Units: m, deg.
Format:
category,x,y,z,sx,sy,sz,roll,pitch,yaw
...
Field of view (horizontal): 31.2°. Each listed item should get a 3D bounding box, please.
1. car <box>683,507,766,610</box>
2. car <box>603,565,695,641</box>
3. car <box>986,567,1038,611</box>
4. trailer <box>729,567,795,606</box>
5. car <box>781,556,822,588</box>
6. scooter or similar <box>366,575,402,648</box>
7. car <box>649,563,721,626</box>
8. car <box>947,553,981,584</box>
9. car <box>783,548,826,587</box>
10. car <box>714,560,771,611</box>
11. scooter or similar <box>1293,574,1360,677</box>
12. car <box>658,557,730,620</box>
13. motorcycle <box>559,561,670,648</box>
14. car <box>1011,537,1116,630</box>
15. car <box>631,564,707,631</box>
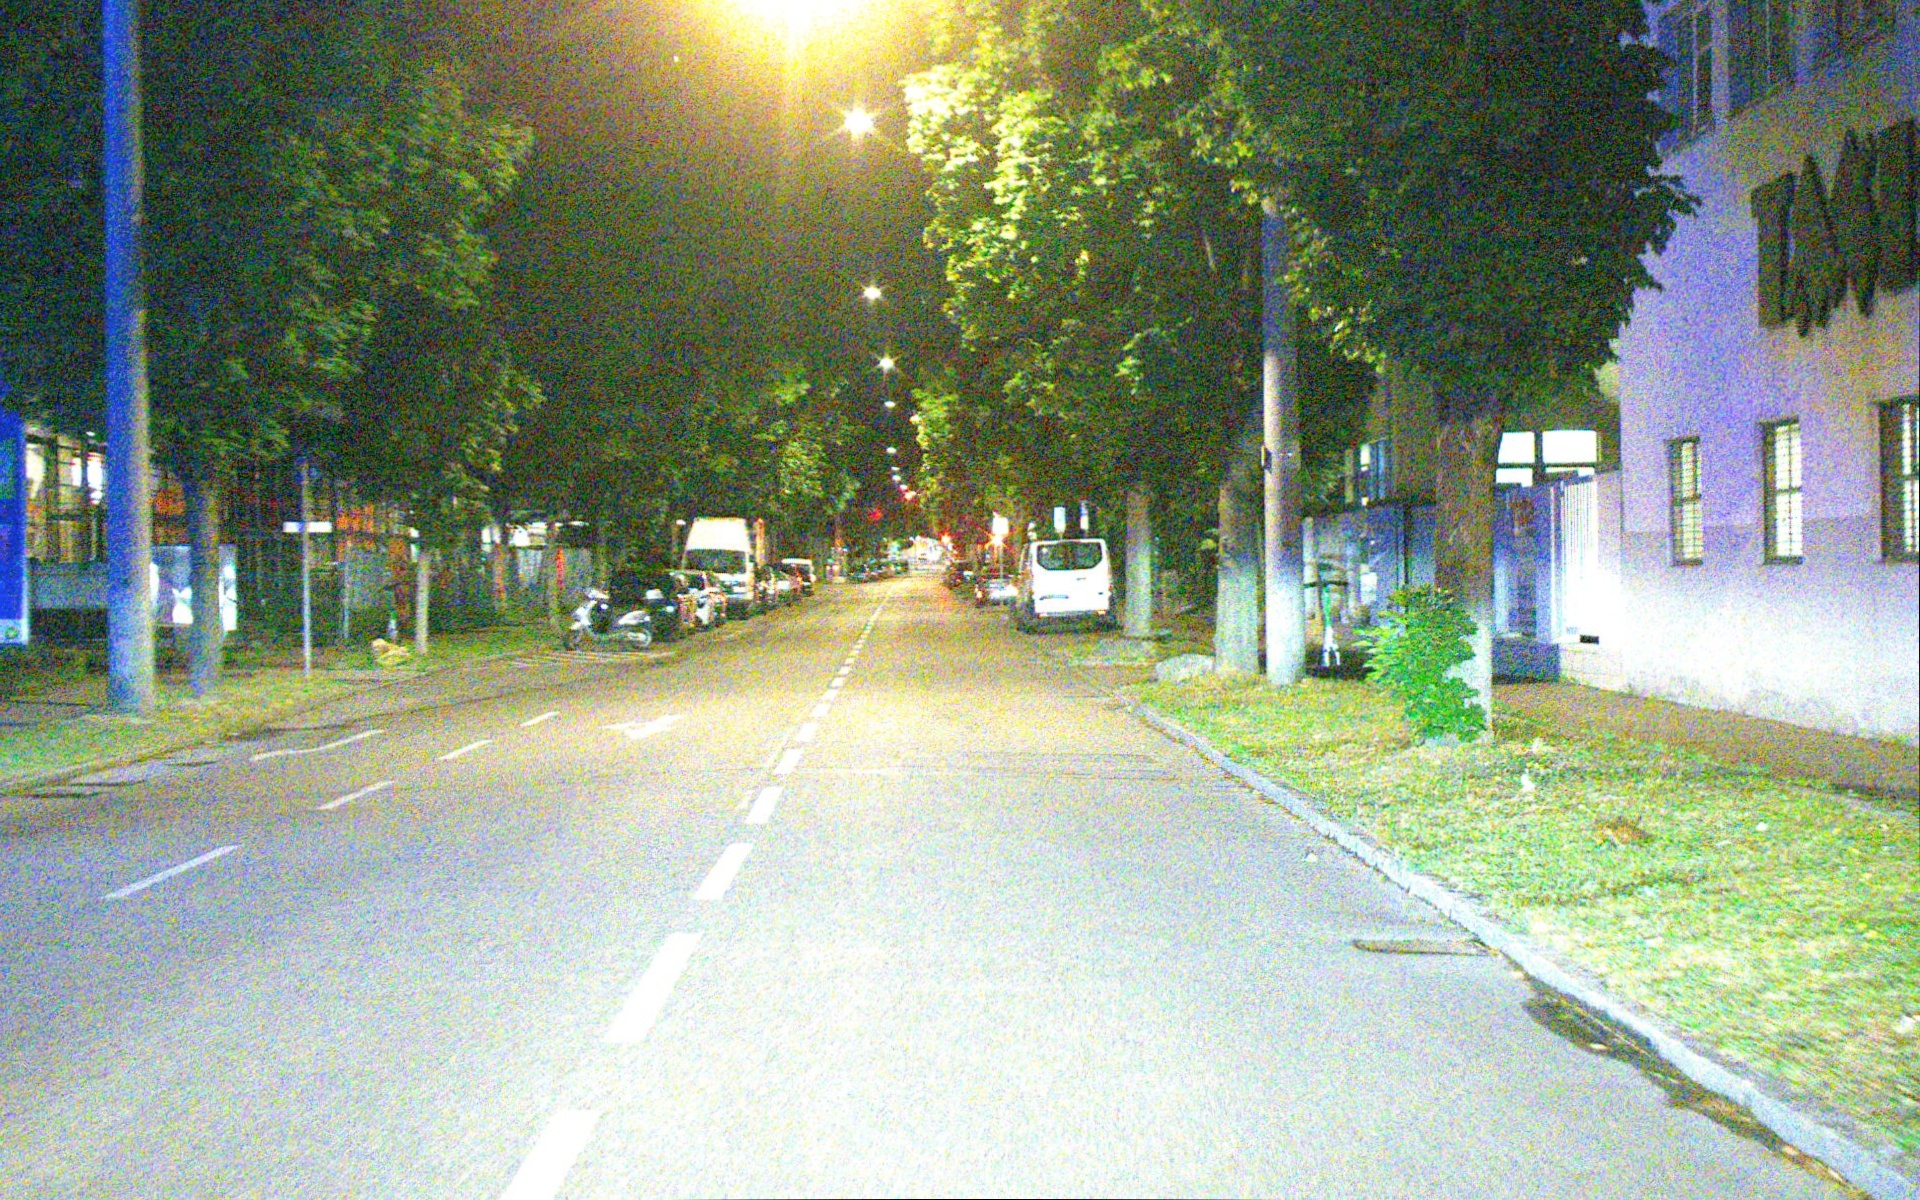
category,x,y,z,sx,sy,sz,roll,pitch,yaw
car,-6.860,-1.220,100.569,2.179,2.899,4.910,1,1,-2
car,-6.546,0.041,72.652,1.642,1.499,3.904,2,1,-2
car,1.791,-0.385,116.646,1.668,1.424,4.148,-2,1,2
trailer,-7.463,-0.518,129.991,2.110,1.330,5.435,2,0,1
car,-7.644,-1.356,165.913,1.700,1.428,3.828,3,1,1
scooter or similar,-9.635,0.184,57.552,0.367,1.200,1.427,-1,0,-1
car,-6.665,-0.152,83.558,1.547,1.450,3.368,2,1,-2
car,0.210,-1.737,187.674,1.853,1.648,4.209,0,1,0
car,-7.717,-1.621,170.647,1.822,1.805,4.210,3,1,1
car,-7.022,-0.474,111.373,1.742,1.601,4.299,1,1,-3
scooter or similar,4.431,0.308,41.699,0.547,1.199,1.911,2,-1,-1
car,-6.809,-0.315,88.318,1.645,1.499,3.861,2,1,-3
motorcycle,-6.358,0.081,63.242,1.901,1.544,0.639,1,0,-20
car,2.198,-0.377,74.529,1.950,1.957,4.604,0,1,-2
car,-6.629,-0.071,78.551,1.444,1.425,3.904,2,1,-2
